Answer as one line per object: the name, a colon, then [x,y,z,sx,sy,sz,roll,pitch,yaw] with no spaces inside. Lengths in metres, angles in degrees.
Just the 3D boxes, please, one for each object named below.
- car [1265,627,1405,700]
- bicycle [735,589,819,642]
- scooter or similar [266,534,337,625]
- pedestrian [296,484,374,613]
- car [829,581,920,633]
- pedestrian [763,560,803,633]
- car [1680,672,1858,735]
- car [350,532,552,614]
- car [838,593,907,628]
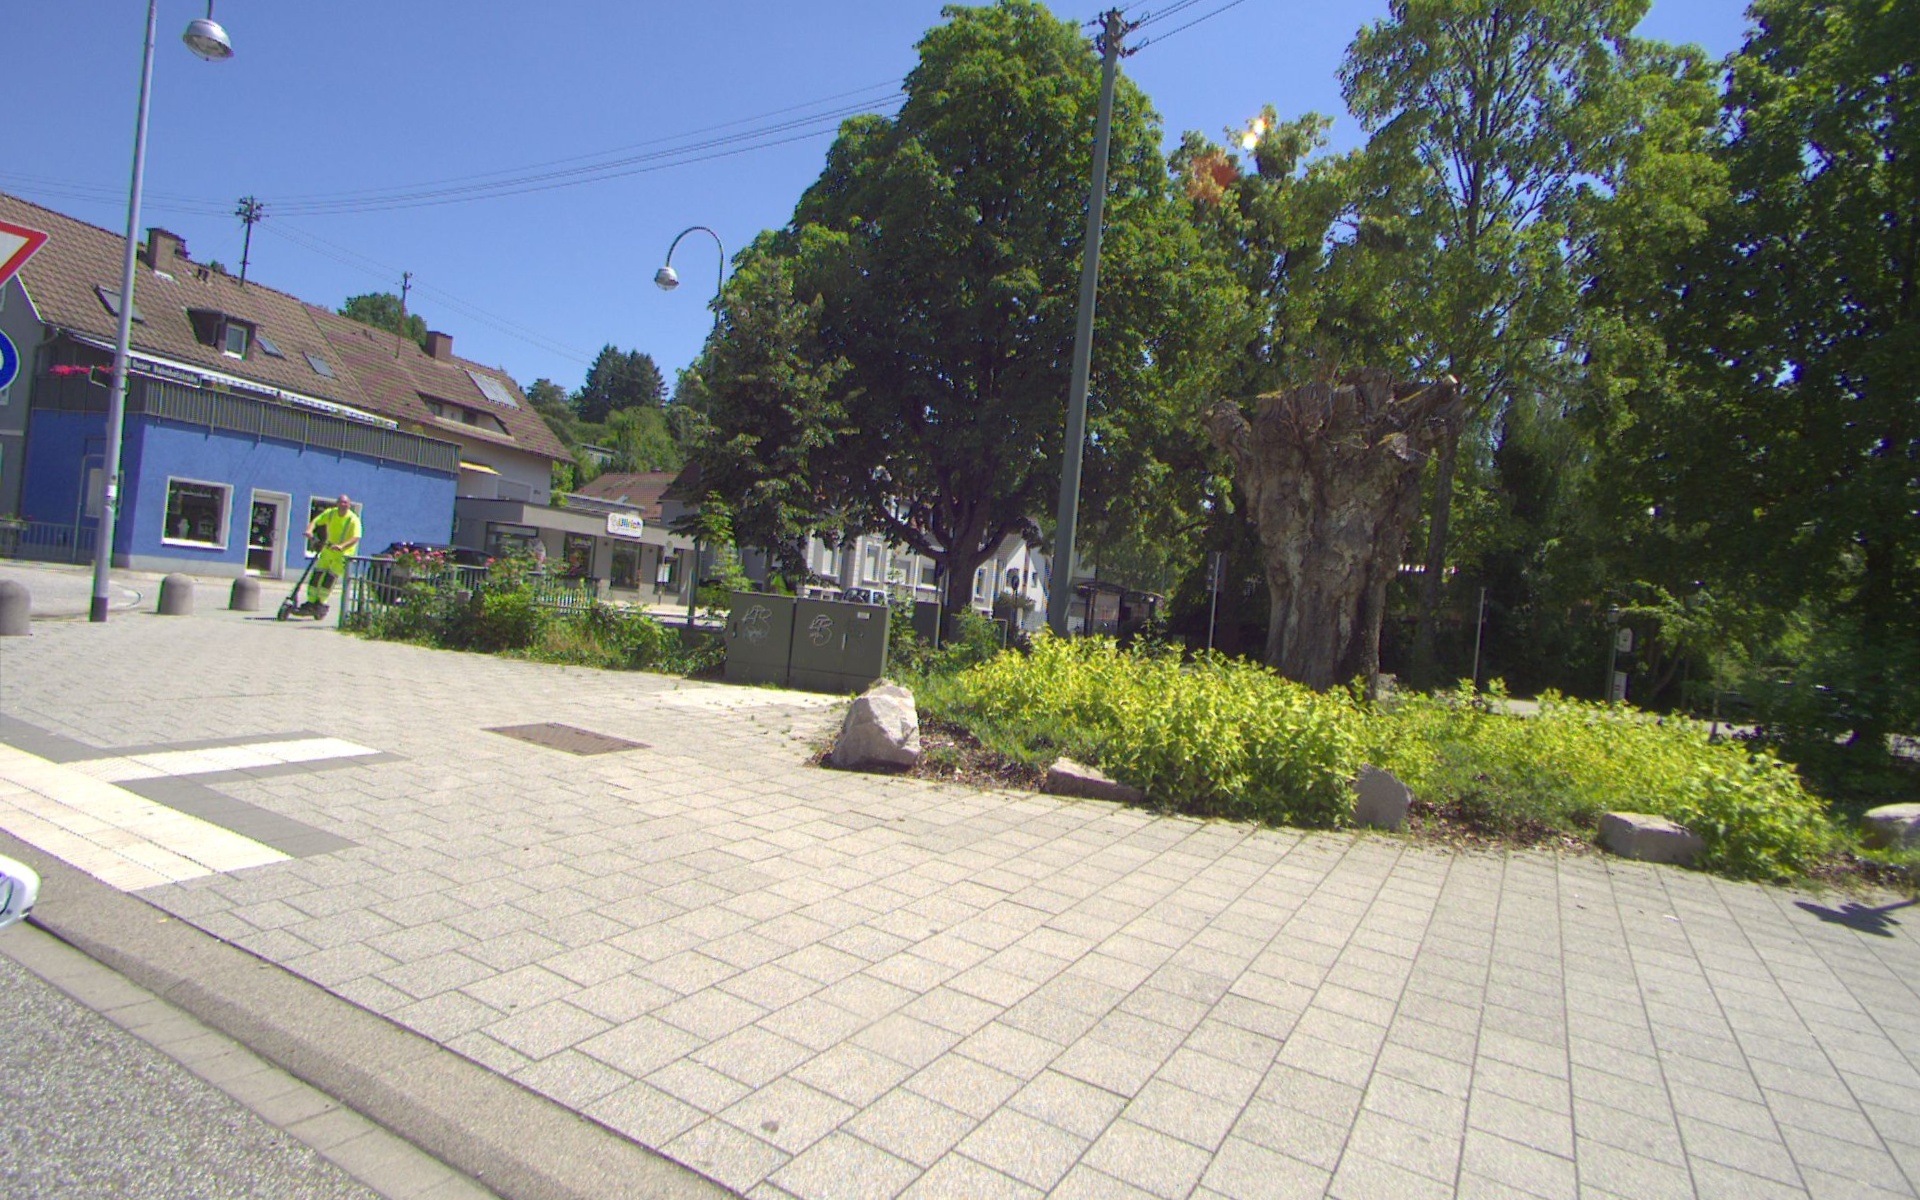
car: [9.579,1.592,26.044,1.644,1.472,3.756,5,0,-9]
bicycle: [-4.406,0.367,24.353,1.815,1.097,0.747,6,1,-1]
scooter or similar: [-9.667,-0.311,14.760,1.223,1.238,0.527,6,1,43]
pedestrian: [-9.318,-0.759,15.013,0.669,1.824,0.736,5,2,-12]
car: [-3.633,0.328,43.533,1.733,1.898,4.222,6,0,30]
pedestrian: [-4.271,-0.080,24.338,0.705,1.652,0.747,5,1,-1]
car: [41.647,5.281,52.056,2.168,2.267,6.716,5,0,-29]
car: [-12.260,-0.591,24.577,1.777,1.566,4.262,7,0,18]
car: [-4.522,0.569,52.571,1.747,1.571,3.672,5,-1,29]
